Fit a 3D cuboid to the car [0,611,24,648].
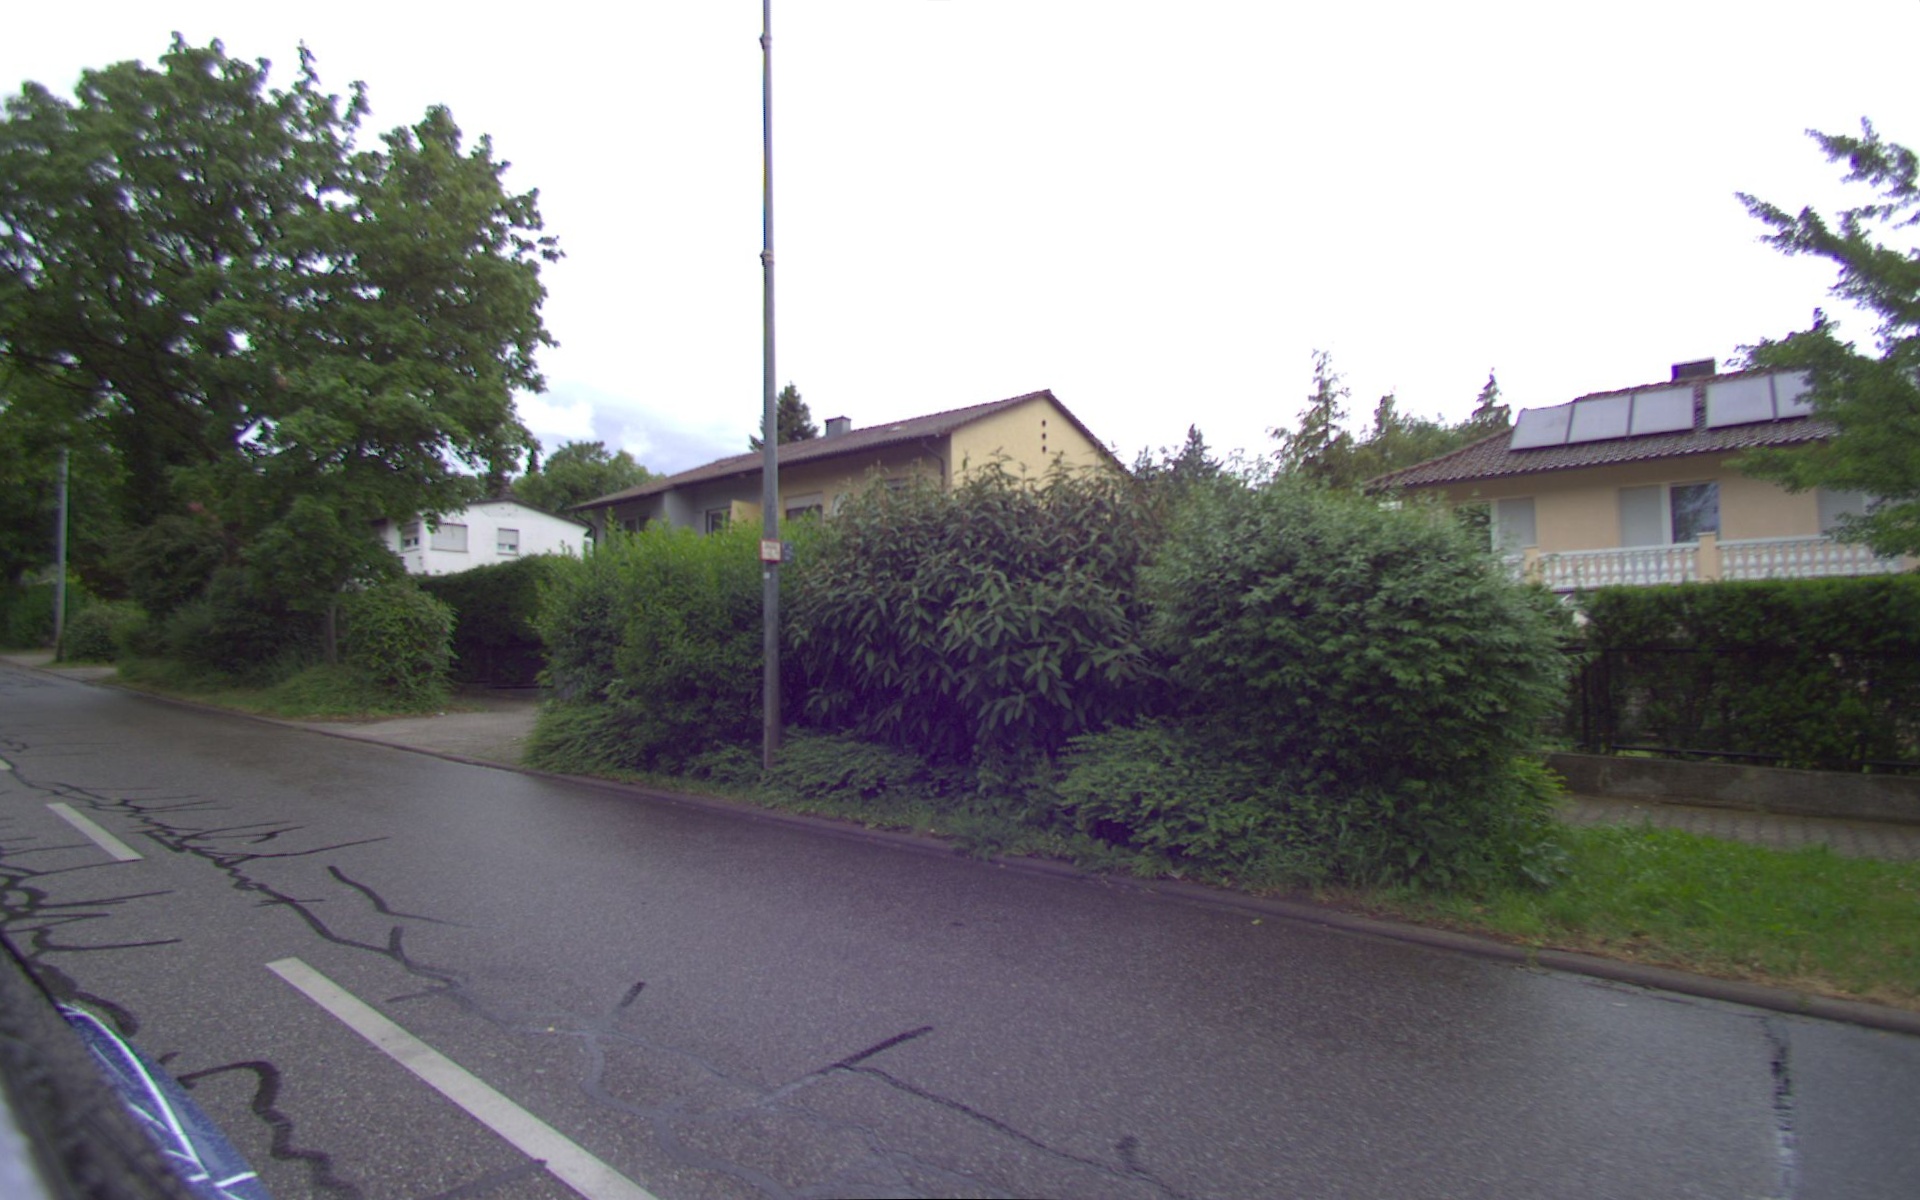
[{"bbox_3d":[-44.020,1.319,45.837,4.277,1.554,1.648,0,1,37],"label":"car"}]
